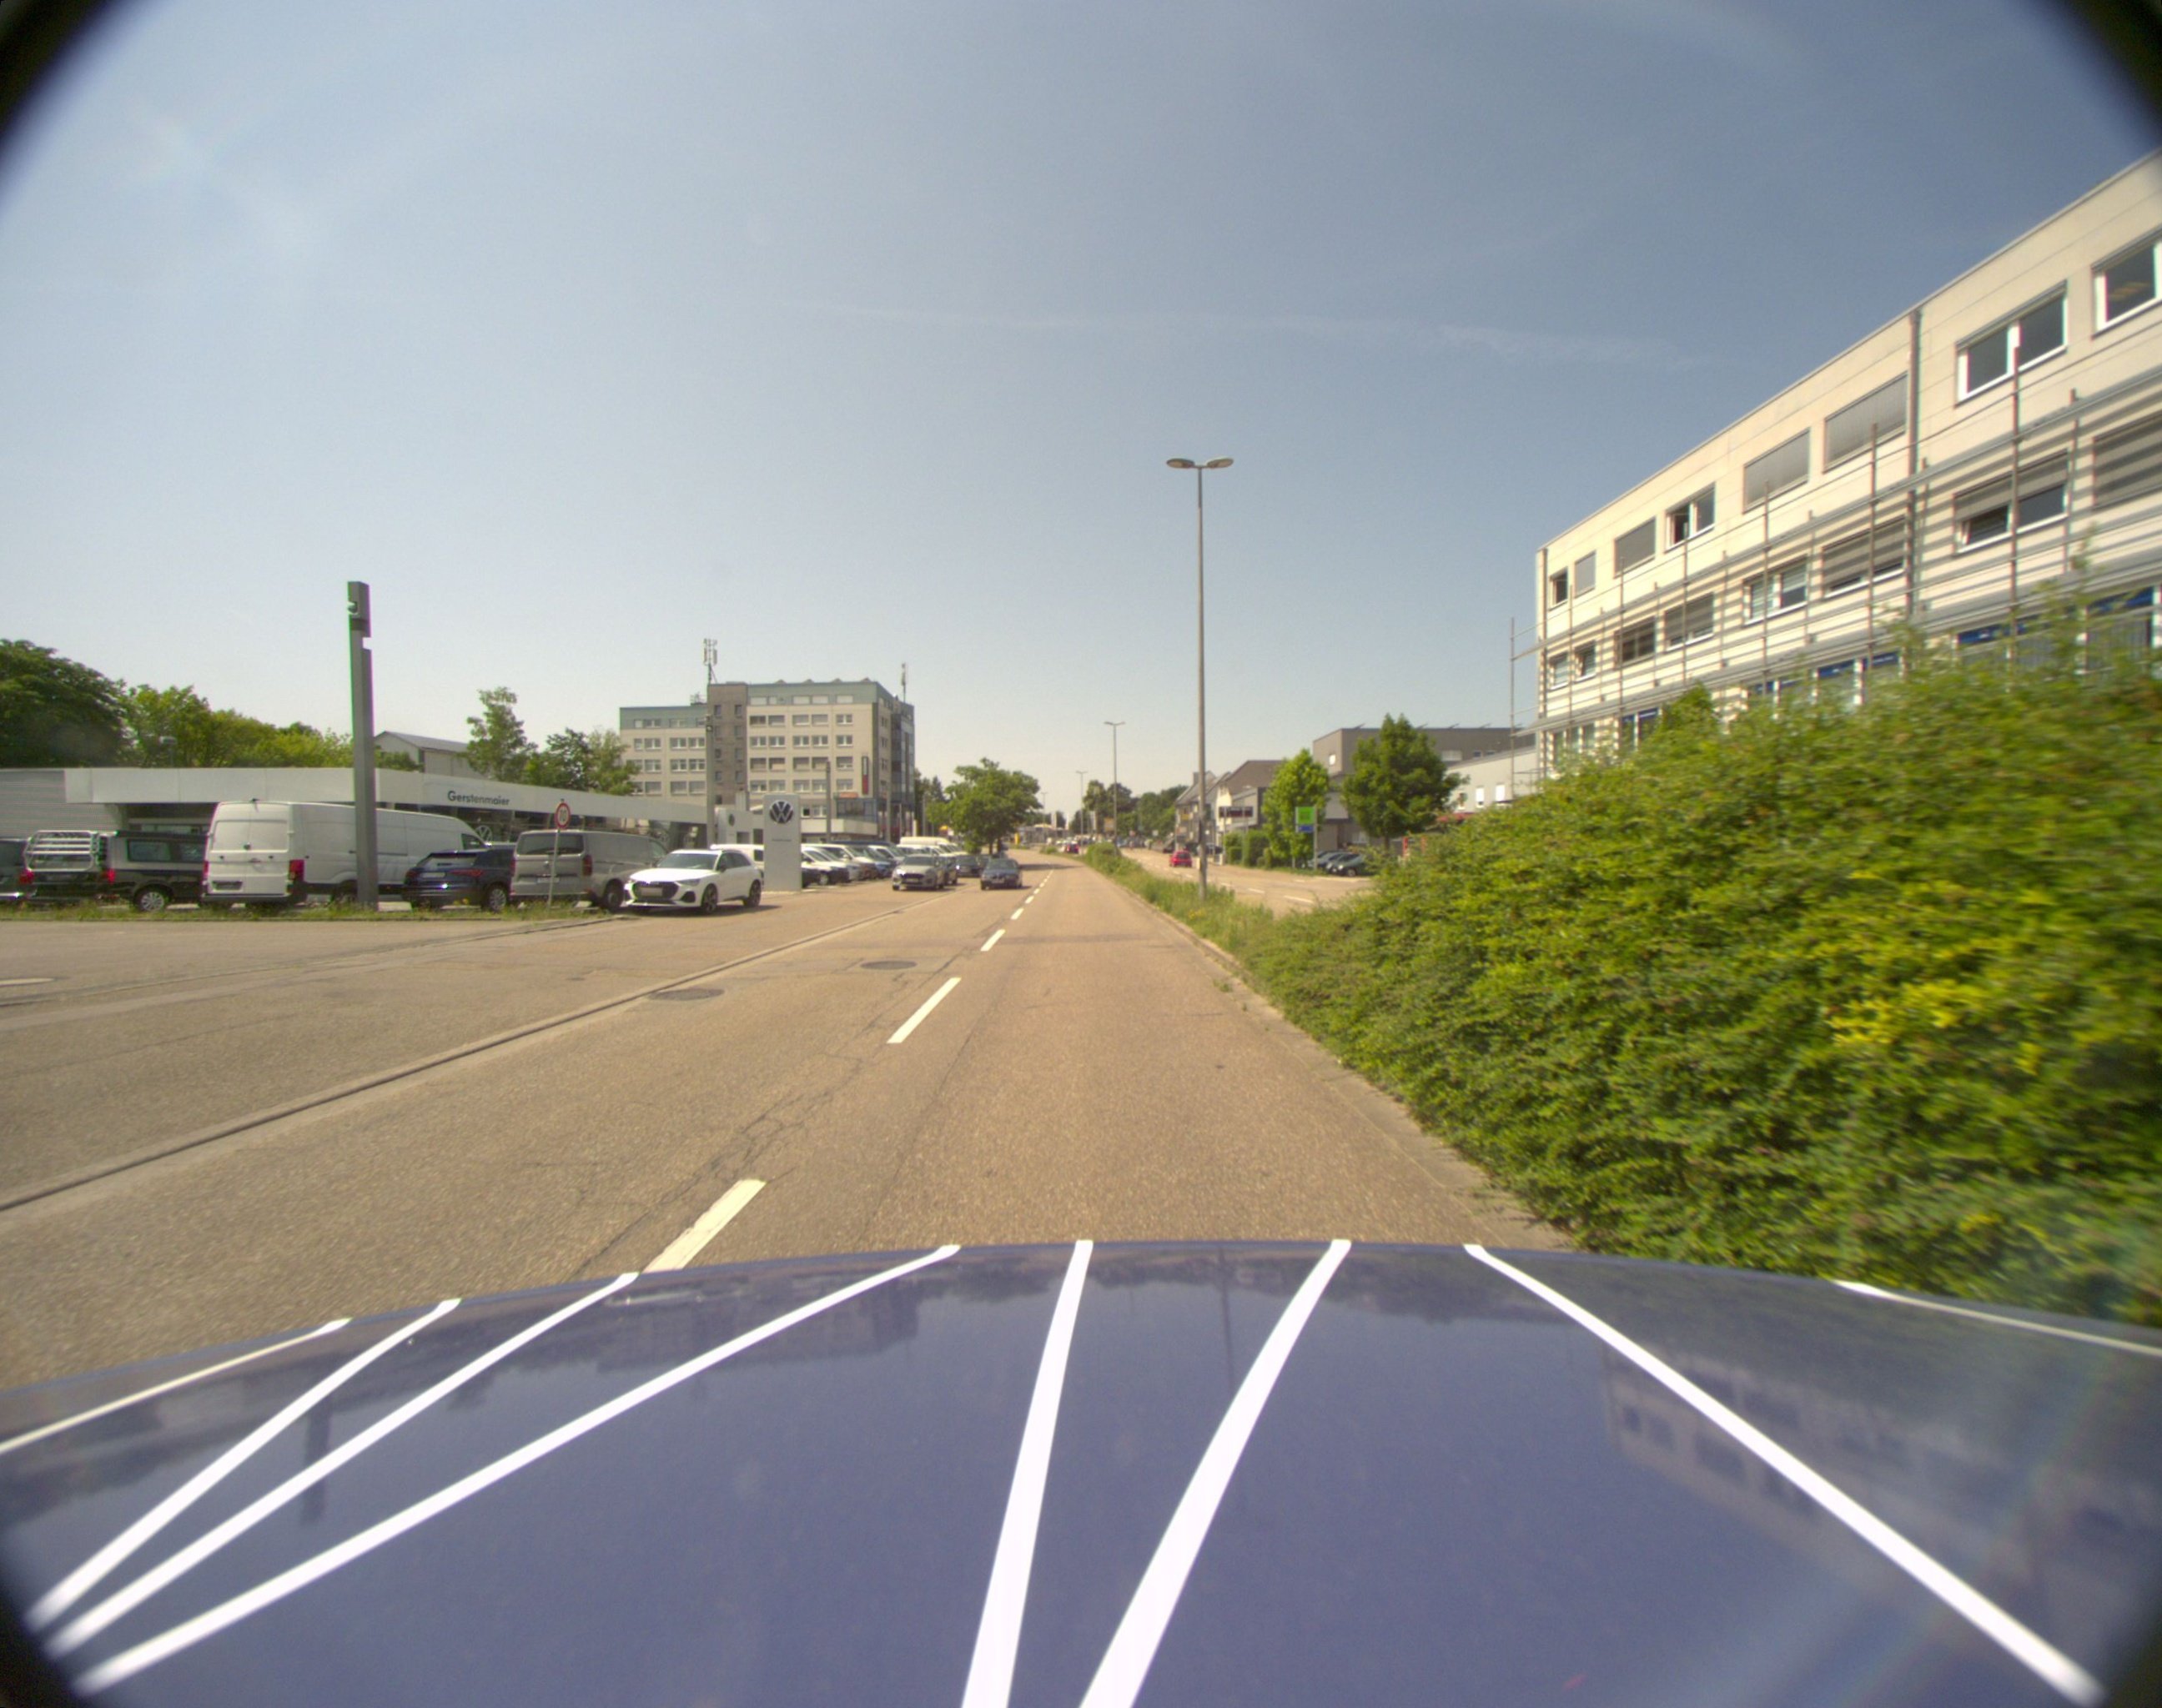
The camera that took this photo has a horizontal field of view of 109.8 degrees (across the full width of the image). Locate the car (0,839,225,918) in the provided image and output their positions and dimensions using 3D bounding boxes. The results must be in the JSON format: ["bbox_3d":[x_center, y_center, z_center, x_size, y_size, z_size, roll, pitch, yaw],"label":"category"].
[{"bbox_3d":[-25.252,0.570,19.426,1.748,1.775,4.377,-2,1,-1],"label":"car"}]

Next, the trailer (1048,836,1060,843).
[{"bbox_3d":[-6.517,-3.556,183.589,1.689,1.694,2.438,0,3,28],"label":"trailer"}]

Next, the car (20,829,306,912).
[{"bbox_3d":[-22.829,0.432,19.281,1.738,1.854,4.801,0,-1,-6],"label":"car"}]

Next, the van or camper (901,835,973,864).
[{"bbox_3d":[-14.353,-0.430,76.214,6.815,2.881,2.275,0,1,-2],"label":"van or camper"}]

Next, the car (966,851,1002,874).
[{"bbox_3d":[-7.080,0.603,55.951,1.966,1.521,5.159,2,1,-1],"label":"car"}]

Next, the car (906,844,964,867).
[{"bbox_3d":[-13.532,0.101,70.597,4.961,2.101,2.158,0,1,-2],"label":"car"}]

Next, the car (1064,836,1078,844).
[{"bbox_3d":[-2.332,-3.314,178.464,1.914,1.532,3.966,-1,3,20],"label":"car"}]

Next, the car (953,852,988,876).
[{"bbox_3d":[-7.197,0.613,49.869,1.860,1.472,5.153,-1,1,-4],"label":"car"}]

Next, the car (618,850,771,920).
[{"bbox_3d":[-9.774,0.690,19.681,1.671,1.586,4.612,1,0,-1],"label":"car"}]

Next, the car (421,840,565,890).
[{"bbox_3d":[-22.434,0.395,29.037,4.369,1.813,2.004,0,1,13],"label":"car"}]

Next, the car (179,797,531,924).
[{"bbox_3d":[-17.678,0.115,19.356,2.262,2.660,7.016,0,0,0],"label":"car"}]

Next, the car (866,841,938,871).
[{"bbox_3d":[-13.313,0.170,56.738,4.913,2.102,2.128,1,1,-2],"label":"car"}]

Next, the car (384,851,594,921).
[{"bbox_3d":[-14.777,0.713,19.381,1.748,1.505,4.599,-2,0,-1],"label":"car"}]

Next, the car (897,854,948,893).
[{"bbox_3d":[-6.846,0.814,33.233,1.737,1.543,4.177,-1,1,-6],"label":"car"}]

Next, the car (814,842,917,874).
[{"bbox_3d":[-13.729,0.229,48.651,5.905,2.002,2.260,0,1,7],"label":"car"}]

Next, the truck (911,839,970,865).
[{"bbox_3d":[-13.526,-0.177,73.395,5.260,2.422,2.111,1,1,1],"label":"truck"}]

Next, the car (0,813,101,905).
[{"bbox_3d":[-30.946,0.142,19.580,2.262,2.541,7.071,0,0,0],"label":"car"}]

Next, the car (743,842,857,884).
[{"bbox_3d":[-12.826,0.420,34.911,4.569,1.877,1.857,1,-1,-4],"label":"car"}]

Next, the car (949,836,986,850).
[{"bbox_3d":[-16.184,-1.570,108.507,4.746,1.704,1.995,-3,3,-26],"label":"car"}]

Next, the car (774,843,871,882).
[{"bbox_3d":[-12.791,0.392,37.794,4.161,1.771,1.880,1,3,-2],"label":"car"}]

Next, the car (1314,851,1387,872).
[{"bbox_3d":[16.903,0.475,47.763,3.849,1.223,1.859,1,1,-2],"label":"car"}]

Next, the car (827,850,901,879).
[{"bbox_3d":[-12.323,0.590,43.312,3.638,1.561,1.716,-1,1,5],"label":"car"}]

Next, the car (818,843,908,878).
[{"bbox_3d":[-13.131,0.405,45.905,4.799,1.972,2.004,-1,-1,0],"label":"car"}]

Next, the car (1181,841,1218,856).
[{"bbox_3d":[15.811,-0.765,101.609,4.618,1.618,1.853,-4,2,-1],"label":"car"}]

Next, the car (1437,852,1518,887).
[{"bbox_3d":[18.376,0.695,35.401,1.663,1.459,3.797,2,1,-1],"label":"car"}]

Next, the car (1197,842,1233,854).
[{"bbox_3d":[16.902,-0.781,96.014,4.068,1.512,1.999,0,2,-4],"label":"car"}]

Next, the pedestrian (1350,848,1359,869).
[{"bbox_3d":[22.481,0.371,62.424,0.547,1.648,0.624,-2,3,-2],"label":"pedestrian"}]

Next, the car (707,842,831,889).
[{"bbox_3d":[-13.062,0.452,31.996,4.424,1.872,1.908,0,2,-2],"label":"car"}]

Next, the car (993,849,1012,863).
[{"bbox_3d":[-8.787,0.164,85.179,1.802,1.398,4.318,-2,2,-2],"label":"car"}]

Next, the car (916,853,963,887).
[{"bbox_3d":[-7.121,0.778,38.604,1.718,1.539,4.788,0,1,-3],"label":"car"}]

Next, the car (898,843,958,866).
[{"bbox_3d":[-13.669,0.060,67.891,4.925,1.960,2.141,1,1,-1],"label":"car"}]

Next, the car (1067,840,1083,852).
[{"bbox_3d":[-0.949,-1.280,118.392,1.915,1.741,4.755,-2,3,-6],"label":"car"}]

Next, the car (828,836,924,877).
[{"bbox_3d":[-13.859,0.156,51.605,5.857,2.510,2.204,-1,3,2],"label":"car"}]

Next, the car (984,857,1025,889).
[{"bbox_3d":[-3.473,0.827,34.678,1.698,1.365,3.998,-1,0,-5],"label":"car"}]

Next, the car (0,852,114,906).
[{"bbox_3d":[-28.139,0.670,19.223,1.748,1.349,4.377,-2,0,-1],"label":"car"}]

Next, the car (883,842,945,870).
[{"bbox_3d":[-13.608,0.156,62.249,4.521,2.002,2.197,2,2,0],"label":"car"}]

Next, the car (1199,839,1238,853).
[{"bbox_3d":[17.852,-1.001,98.881,4.620,1.488,1.751,-4,2,-9],"label":"car"}]

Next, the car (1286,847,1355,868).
[{"bbox_3d":[16.694,0.243,53.064,4.160,1.334,2.042,1,1,-3],"label":"car"}]

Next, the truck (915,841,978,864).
[{"bbox_3d":[-14.281,-0.197,80.769,6.261,2.323,2.368,1,0,0],"label":"truck"}]

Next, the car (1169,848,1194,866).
[{"bbox_3d":[8.775,0.242,66.454,1.635,1.416,3.449,1,1,0],"label":"car"}]

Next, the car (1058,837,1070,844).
[{"bbox_3d":[-4.048,-3.311,180.449,1.754,1.502,3.823,-1,3,16],"label":"car"}]

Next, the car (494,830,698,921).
[{"bbox_3d":[-12.227,0.453,19.709,1.999,2.011,5.159,-1,1,-1],"label":"car"}]

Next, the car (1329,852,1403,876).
[{"bbox_3d":[16.823,0.569,44.980,3.667,1.356,1.780,1,1,0],"label":"car"}]

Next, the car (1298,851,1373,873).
[{"bbox_3d":[16.774,0.508,50.257,4.235,1.341,1.980,1,1,-2],"label":"car"}]

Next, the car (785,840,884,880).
[{"bbox_3d":[-13.087,0.334,40.613,4.653,2.002,1.959,1,0,-3],"label":"car"}]
